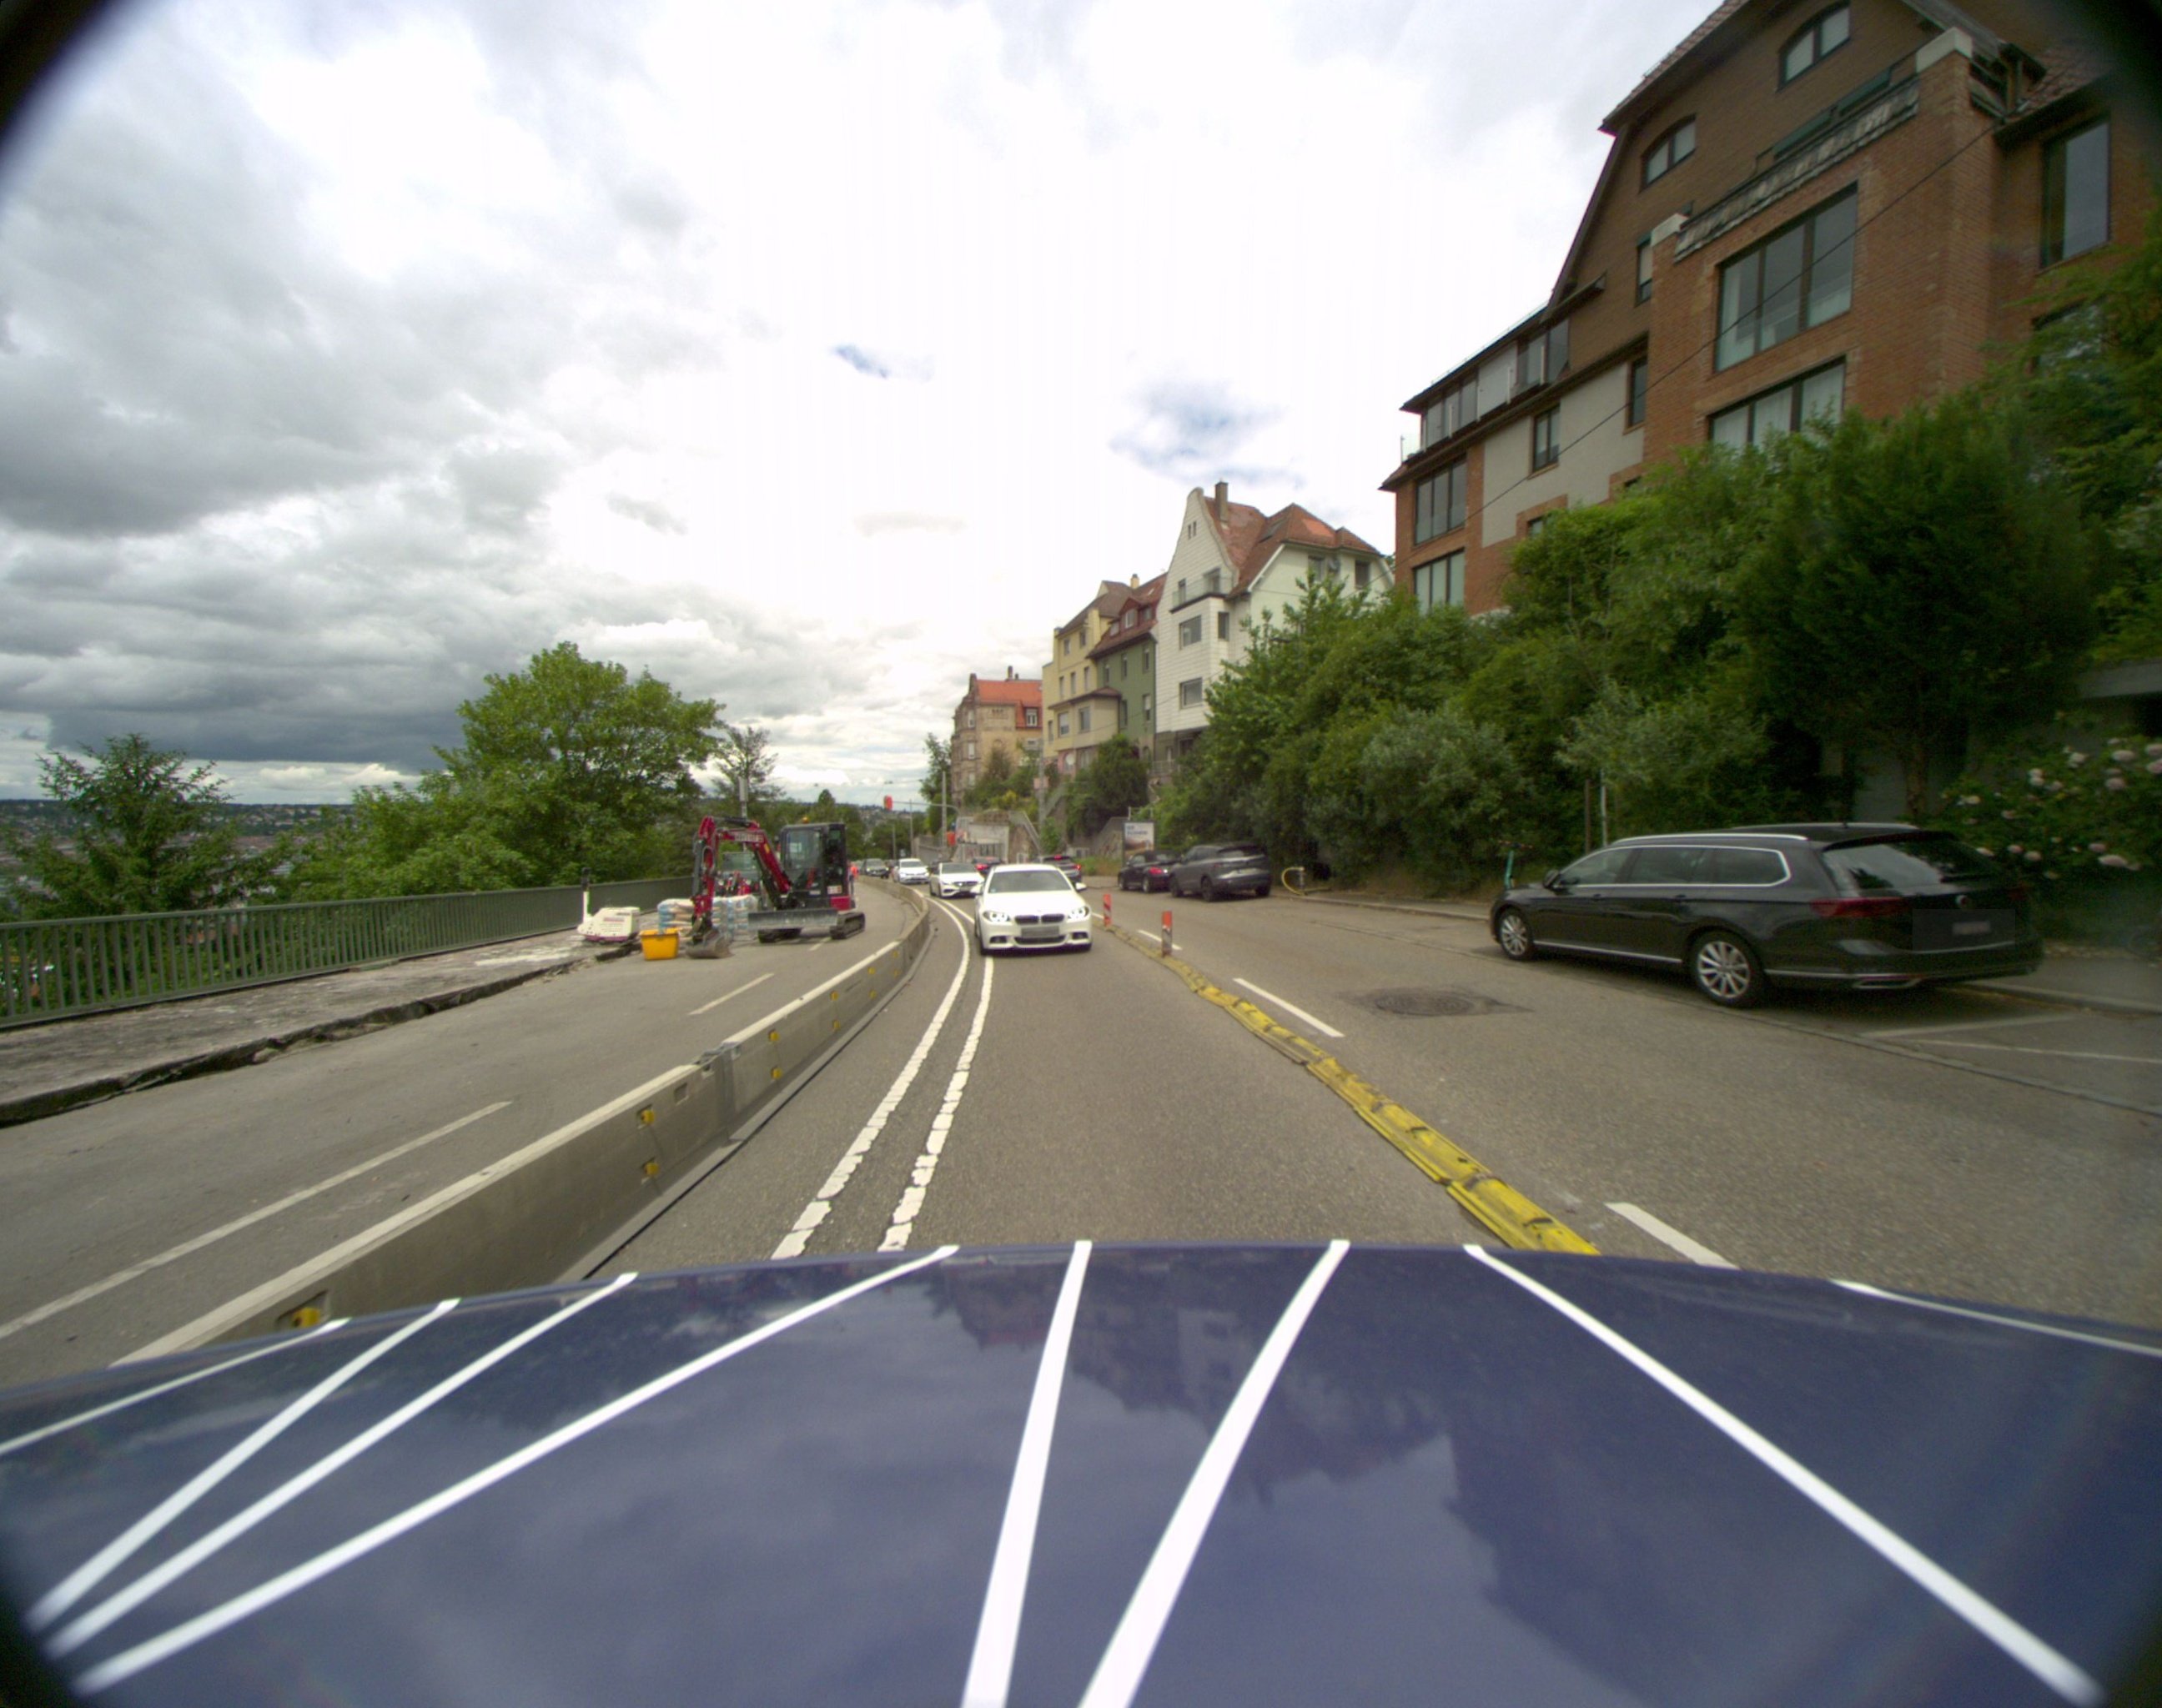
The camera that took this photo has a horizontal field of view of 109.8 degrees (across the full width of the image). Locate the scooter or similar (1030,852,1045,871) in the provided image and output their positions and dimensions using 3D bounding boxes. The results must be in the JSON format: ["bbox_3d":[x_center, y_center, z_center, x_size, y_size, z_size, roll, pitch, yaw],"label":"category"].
[{"bbox_3d":[-2.909,0.509,50.943,0.461,1.198,1.432,-5,2,-24],"label":"scooter or similar"}]

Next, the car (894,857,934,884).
[{"bbox_3d":[-10.397,0.998,47.115,1.795,1.542,4.237,-1,0,-20],"label":"car"}]

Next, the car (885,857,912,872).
[{"bbox_3d":[-18.731,1.053,77.851,1.803,1.438,4.353,-1,1,-25],"label":"car"}]

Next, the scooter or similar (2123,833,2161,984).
[{"bbox_3d":[9.088,0.452,5.895,0.417,1.225,1.121,-4,1,-1],"label":"scooter or similar"}]

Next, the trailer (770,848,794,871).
[{"bbox_3d":[-33.519,0.630,85.300,2.115,2.535,5.111,0,0,-18],"label":"trailer"}]

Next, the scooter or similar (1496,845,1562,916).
[{"bbox_3d":[8.057,0.466,13.712,0.350,1.206,1.045,-5,1,-12],"label":"scooter or similar"}]

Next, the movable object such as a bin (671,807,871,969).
[{"bbox_3d":[-5.911,0.563,15.329,2.218,2.647,4.942,-2,0,-5],"label":"movable object such as a bin"}]

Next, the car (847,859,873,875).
[{"bbox_3d":[-21.119,1.220,72.539,1.802,1.501,3.992,1,0,-24],"label":"car"}]

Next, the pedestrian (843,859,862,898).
[{"bbox_3d":[-10.259,1.080,34.121,0.648,1.692,0.848,-4,1,-22],"label":"pedestrian"}]

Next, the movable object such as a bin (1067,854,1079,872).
[{"bbox_3d":[-0.471,0.542,45.900,0.470,1.047,0.623,-4,2,-22],"label":"movable object such as a bin"}]

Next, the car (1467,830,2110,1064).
[{"bbox_3d":[6.067,0.614,7.537,1.740,1.443,4.681,-5,1,-4],"label":"car"}]

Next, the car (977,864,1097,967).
[{"bbox_3d":[-0.957,0.977,13.883,1.793,1.472,4.241,-2,0,-8],"label":"car"}]

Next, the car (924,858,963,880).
[{"bbox_3d":[-10.193,1.080,56.161,1.803,1.438,4.353,-1,1,-25],"label":"car"}]

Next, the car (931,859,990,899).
[{"bbox_3d":[-5.005,0.974,31.070,1.794,1.472,4.238,-2,0,-17],"label":"car"}]

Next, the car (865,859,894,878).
[{"bbox_3d":[-16.500,1.162,62.164,1.802,1.501,3.992,1,0,-22],"label":"car"}]

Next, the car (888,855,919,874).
[{"bbox_3d":[-15.746,0.921,67.109,1.775,1.559,4.221,-3,0,-25],"label":"car"}]

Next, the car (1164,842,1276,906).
[{"bbox_3d":[3.986,0.517,22.557,1.692,1.597,4.181,-5,1,-12],"label":"car"}]

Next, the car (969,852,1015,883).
[{"bbox_3d":[-5.078,0.727,42.842,1.774,1.559,4.223,-3,0,-17],"label":"car"}]

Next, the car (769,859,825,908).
[{"bbox_3d":[-11.429,1.119,30.822,1.840,1.769,4.262,-2,0,-17],"label":"car"}]

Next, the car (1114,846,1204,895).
[{"bbox_3d":[2.745,0.556,27.725,1.801,1.502,3.994,-5,1,-16],"label":"car"}]

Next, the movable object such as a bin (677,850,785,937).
[{"bbox_3d":[-8.972,0.924,19.812,1.707,1.931,4.159,-3,0,-14],"label":"movable object such as a bin"}]

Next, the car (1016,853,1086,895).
[{"bbox_3d":[-1.295,0.783,31.047,1.774,1.509,4.019,-3,0,-18],"label":"car"}]
